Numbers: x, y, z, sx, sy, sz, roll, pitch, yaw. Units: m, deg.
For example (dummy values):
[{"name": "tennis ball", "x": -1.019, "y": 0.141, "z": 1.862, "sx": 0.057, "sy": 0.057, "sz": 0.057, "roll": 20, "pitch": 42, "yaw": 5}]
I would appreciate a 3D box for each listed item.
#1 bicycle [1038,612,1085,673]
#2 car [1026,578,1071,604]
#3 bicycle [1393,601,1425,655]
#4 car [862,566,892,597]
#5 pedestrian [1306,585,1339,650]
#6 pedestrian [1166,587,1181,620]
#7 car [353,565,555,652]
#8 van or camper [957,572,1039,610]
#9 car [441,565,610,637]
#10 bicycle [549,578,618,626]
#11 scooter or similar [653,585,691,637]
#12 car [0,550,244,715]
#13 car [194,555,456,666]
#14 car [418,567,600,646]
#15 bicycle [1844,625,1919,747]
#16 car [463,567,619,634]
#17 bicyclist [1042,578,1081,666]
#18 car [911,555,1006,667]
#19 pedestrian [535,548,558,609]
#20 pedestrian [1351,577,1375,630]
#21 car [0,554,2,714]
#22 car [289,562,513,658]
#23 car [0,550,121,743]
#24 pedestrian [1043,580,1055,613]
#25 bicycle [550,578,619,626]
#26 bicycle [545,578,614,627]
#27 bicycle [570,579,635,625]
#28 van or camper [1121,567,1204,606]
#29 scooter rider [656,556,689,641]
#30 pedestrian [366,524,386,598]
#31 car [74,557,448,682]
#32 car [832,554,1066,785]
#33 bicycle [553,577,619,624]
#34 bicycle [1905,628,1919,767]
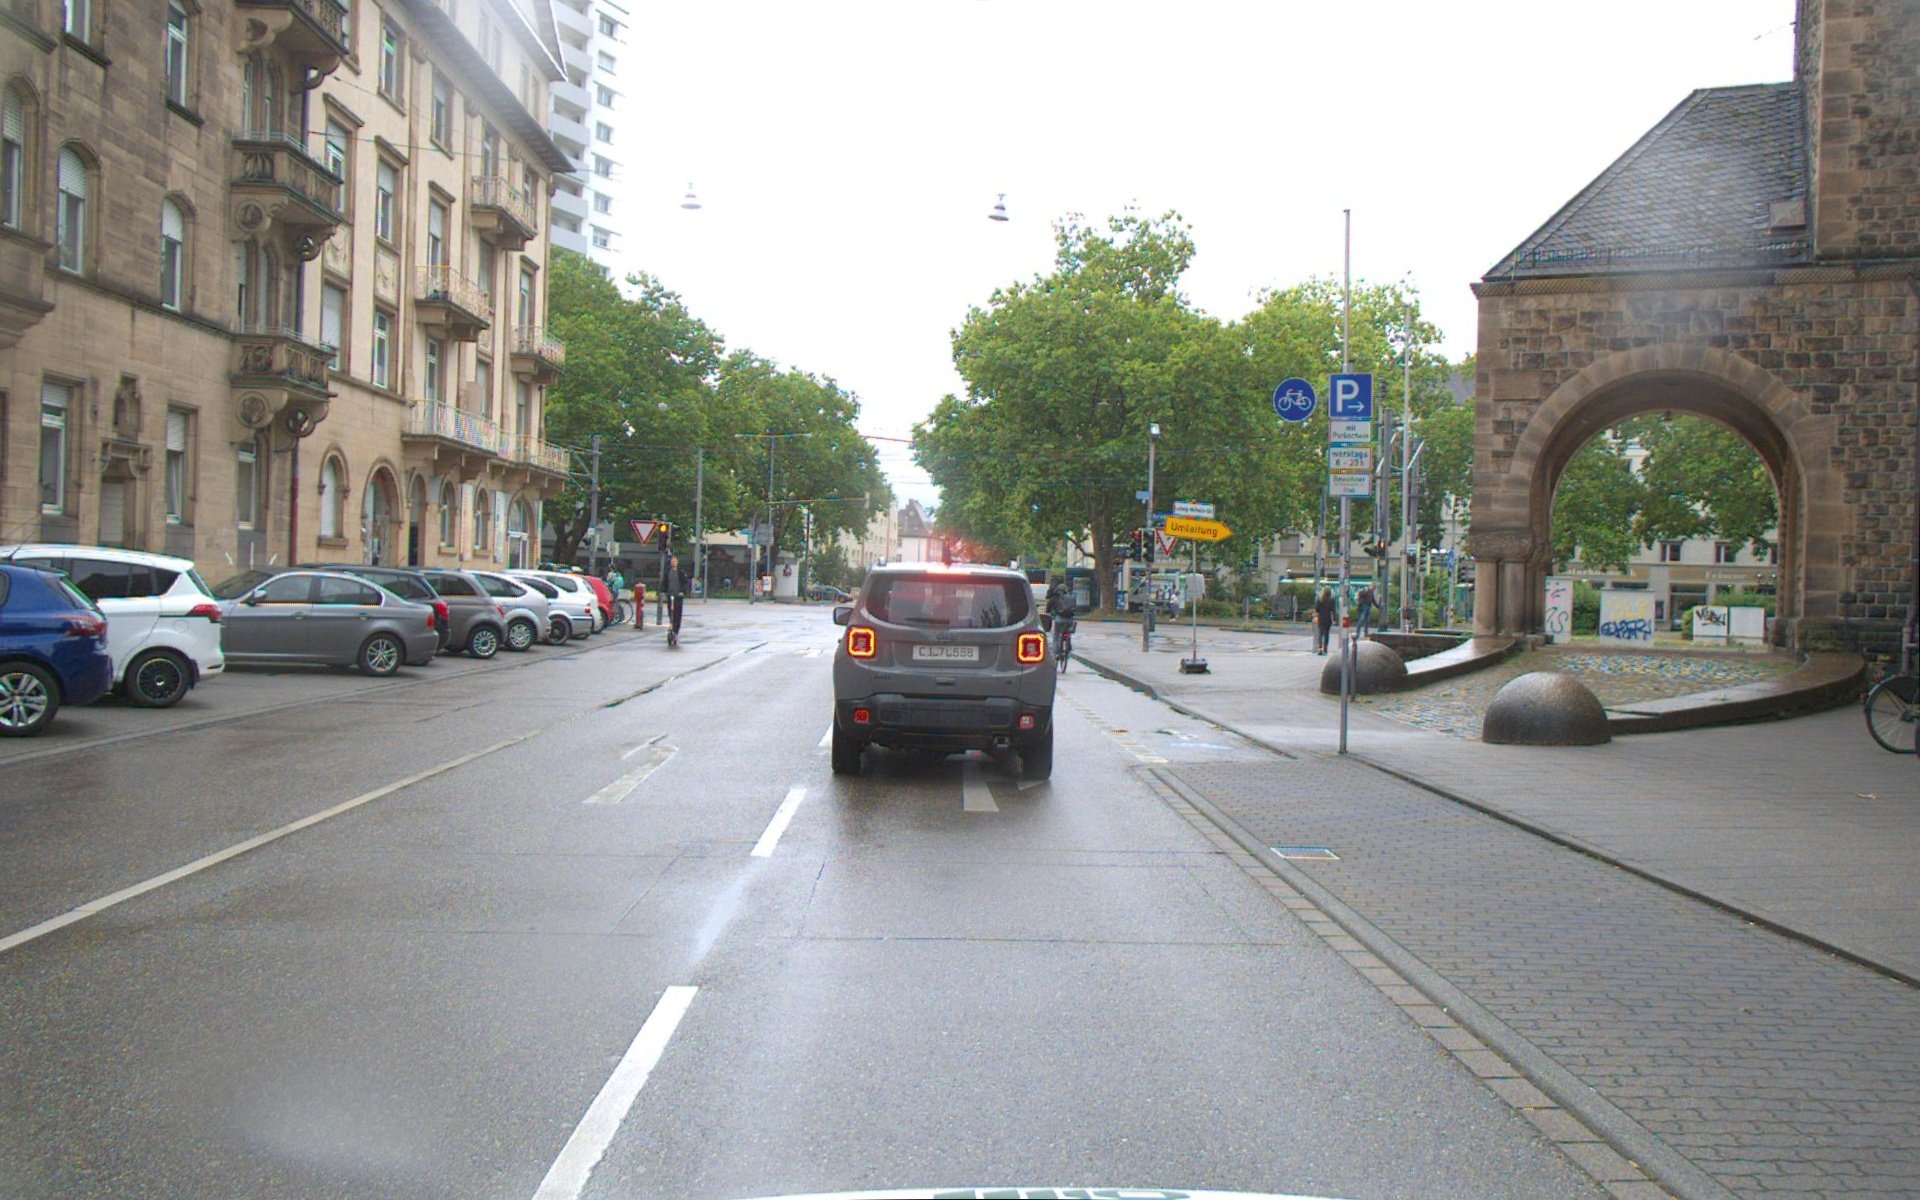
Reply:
[{"name": "bicycle", "x": 1.921, "y": 0.789, "z": 31.618, "sx": 0.677, "sy": 1.039, "sz": 2.657, "roll": 1, "pitch": 1, "yaw": -1}, {"name": "car", "x": 7.079, "y": -0.704, "z": 132.353, "sx": 3.363, "sy": 2.049, "sz": 1.549, "roll": 1, "pitch": 0, "yaw": 13}, {"name": "bicycle", "x": 10.197, "y": 0.626, "z": 37.597, "sx": 0.322, "sy": 1.174, "sz": 2.076, "roll": 1, "pitch": 1, "yaw": 5}, {"name": "car", "x": -4.919, "y": -1.082, "z": 97.551, "sx": 1.687, "sy": 1.769, "sz": 3.727, "roll": 1, "pitch": 1, "yaw": -4}, {"name": "pedestrian", "x": 9.491, "y": 0.455, "z": 43.312, "sx": 0.766, "sy": 1.674, "sz": 0.655, "roll": 1, "pitch": 0, "yaw": 17}, {"name": "pedestrian", "x": 10.621, "y": 0.161, "z": 82.249, "sx": 0.600, "sy": 1.631, "sz": 0.494, "roll": 1, "pitch": 0, "yaw": 24}, {"name": "car", "x": -9.779, "y": 0.158, "z": 32.056, "sx": 3.370, "sy": 1.585, "sz": 1.682, "roll": 1, "pitch": 1, "yaw": -40}, {"name": "van or camper", "x": 3.188, "y": -0.769, "z": 138.459, "sx": 6.400, "sy": 2.963, "sz": 2.492, "roll": 2, "pitch": 1, "yaw": 27}, {"name": "car", "x": -10.008, "y": 0.033, "z": 38.160, "sx": 3.370, "sy": 1.585, "sz": 1.682, "roll": 1, "pitch": 1, "yaw": -40}, {"name": "bicycle", "x": -10.323, "y": 0.047, "z": 45.388, "sx": 1.774, "sy": 1.288, "sz": 0.498, "roll": 1, "pitch": 0, "yaw": -2}, {"name": "scooter or similar", "x": -6.753, "y": 0.253, "z": 38.865, "sx": 0.686, "sy": 1.185, "sz": 1.384, "roll": 1, "pitch": 1, "yaw": -2}, {"name": "car", "x": -9.605, "y": 0.296, "z": 16.729, "sx": 4.007, "sy": 1.583, "sz": 1.772, "roll": 1, "pitch": 1, "yaw": -41}, {"name": "car", "x": -9.920, "y": 0.158, "z": 25.947, "sx": 3.519, "sy": 1.626, "sz": 1.583, "roll": 1, "pitch": 1, "yaw": -40}, {"name": "car", "x": -9.621, "y": 0.148, "z": 35.363, "sx": 3.370, "sy": 1.585, "sz": 1.682, "roll": 1, "pitch": 1, "yaw": -40}, {"name": "bicycle", "x": 9.553, "y": 0.803, "z": 15.684, "sx": 1.942, "sy": 1.124, "sz": 0.692, "roll": 0, "pitch": 0, "yaw": 11}, {"name": "car", "x": -10.389, "y": 0.014, "z": 41.119, "sx": 3.370, "sy": 1.585, "sz": 1.682, "roll": 1, "pitch": 1, "yaw": -40}, {"name": "bicyclist", "x": 1.933, "y": 0.408, "z": 31.568, "sx": 0.673, "sy": 1.645, "sz": 0.883, "roll": 0, "pitch": 0, "yaw": -1}, {"name": "car", "x": -0.037, "y": 0.185, "z": 32.936, "sx": 1.734, "sy": 2.049, "sz": 4.000, "roll": 1, "pitch": 1, "yaw": 0}, {"name": "pedestrian", "x": -14.121, "y": -0.728, "z": 56.458, "sx": 0.556, "sy": 2.049, "sz": 0.654, "roll": 1, "pitch": 0, "yaw": 0}, {"name": "pedestrian", "x": 13.686, "y": 0.116, "z": 56.188, "sx": 0.769, "sy": 1.790, "sz": 0.946, "roll": 1, "pitch": 0, "yaw": 15}, {"name": "car", "x": -8.931, "y": 0.404, "z": 11.381, "sx": 3.987, "sy": 1.538, "sz": 1.781, "roll": 1, "pitch": 1, "yaw": -30}, {"name": "car", "x": -9.798, "y": 0.176, "z": 29.058, "sx": 3.370, "sy": 1.585, "sz": 1.629, "roll": 1, "pitch": 1, "yaw": -40}, {"name": "car", "x": -9.345, "y": 0.362, "z": 13.936, "sx": 3.987, "sy": 1.601, "sz": 1.781, "roll": 1, "pitch": 1, "yaw": -30}, {"name": "pedestrian", "x": 5.691, "y": -0.220, "z": 105.670, "sx": 0.637, "sy": 2.049, "sz": 0.483, "roll": 1, "pitch": 0, "yaw": 12}, {"name": "bicycle", "x": -10.452, "y": 0.044, "z": 46.071, "sx": 1.774, "sy": 1.288, "sz": 0.498, "roll": 1, "pitch": 0, "yaw": -2}, {"name": "bicycle", "x": -10.304, "y": 0.062, "z": 44.841, "sx": 1.728, "sy": 1.288, "sz": 0.522, "roll": 1, "pitch": 0, "yaw": -2}, {"name": "bicycle", "x": -10.372, "y": 0.053, "z": 47.979, "sx": 1.728, "sy": 1.288, "sz": 0.608, "roll": 1, "pitch": 0, "yaw": -2}, {"name": "van or camper", "x": 13.156, "y": -0.892, "z": 107.646, "sx": 5.149, "sy": 2.355, "sz": 2.091, "roll": 2, "pitch": 1, "yaw": 4}, {"name": "scooter rider", "x": -6.750, "y": -0.038, "z": 38.853, "sx": 0.696, "sy": 1.969, "sz": 0.503, "roll": 1, "pitch": 0, "yaw": -3}, {"name": "pedestrian", "x": -14.897, "y": -0.991, "z": 42.179, "sx": 0.359, "sy": 1.854, "sz": 0.347, "roll": 1, "pitch": 0, "yaw": -3}, {"name": "car", "x": -9.633, "y": 0.247, "z": 23.042, "sx": 4.512, "sy": 1.572, "sz": 1.662, "roll": 1, "pitch": 1, "yaw": -44}, {"name": "car", "x": -0.114, "y": 0.496, "z": 14.315, "sx": 1.739, "sy": 1.716, "sz": 3.847, "roll": 1, "pitch": 1, "yaw": -1}, {"name": "bicycle", "x": -10.646, "y": 0.012, "z": 47.101, "sx": 1.728, "sy": 1.288, "sz": 0.608, "roll": 1, "pitch": 0, "yaw": -2}, {"name": "bicycle", "x": 8.410, "y": 0.751, "z": 12.686, "sx": 1.942, "sy": 1.072, "sz": 0.513, "roll": 0, "pitch": 0, "yaw": 14}]
